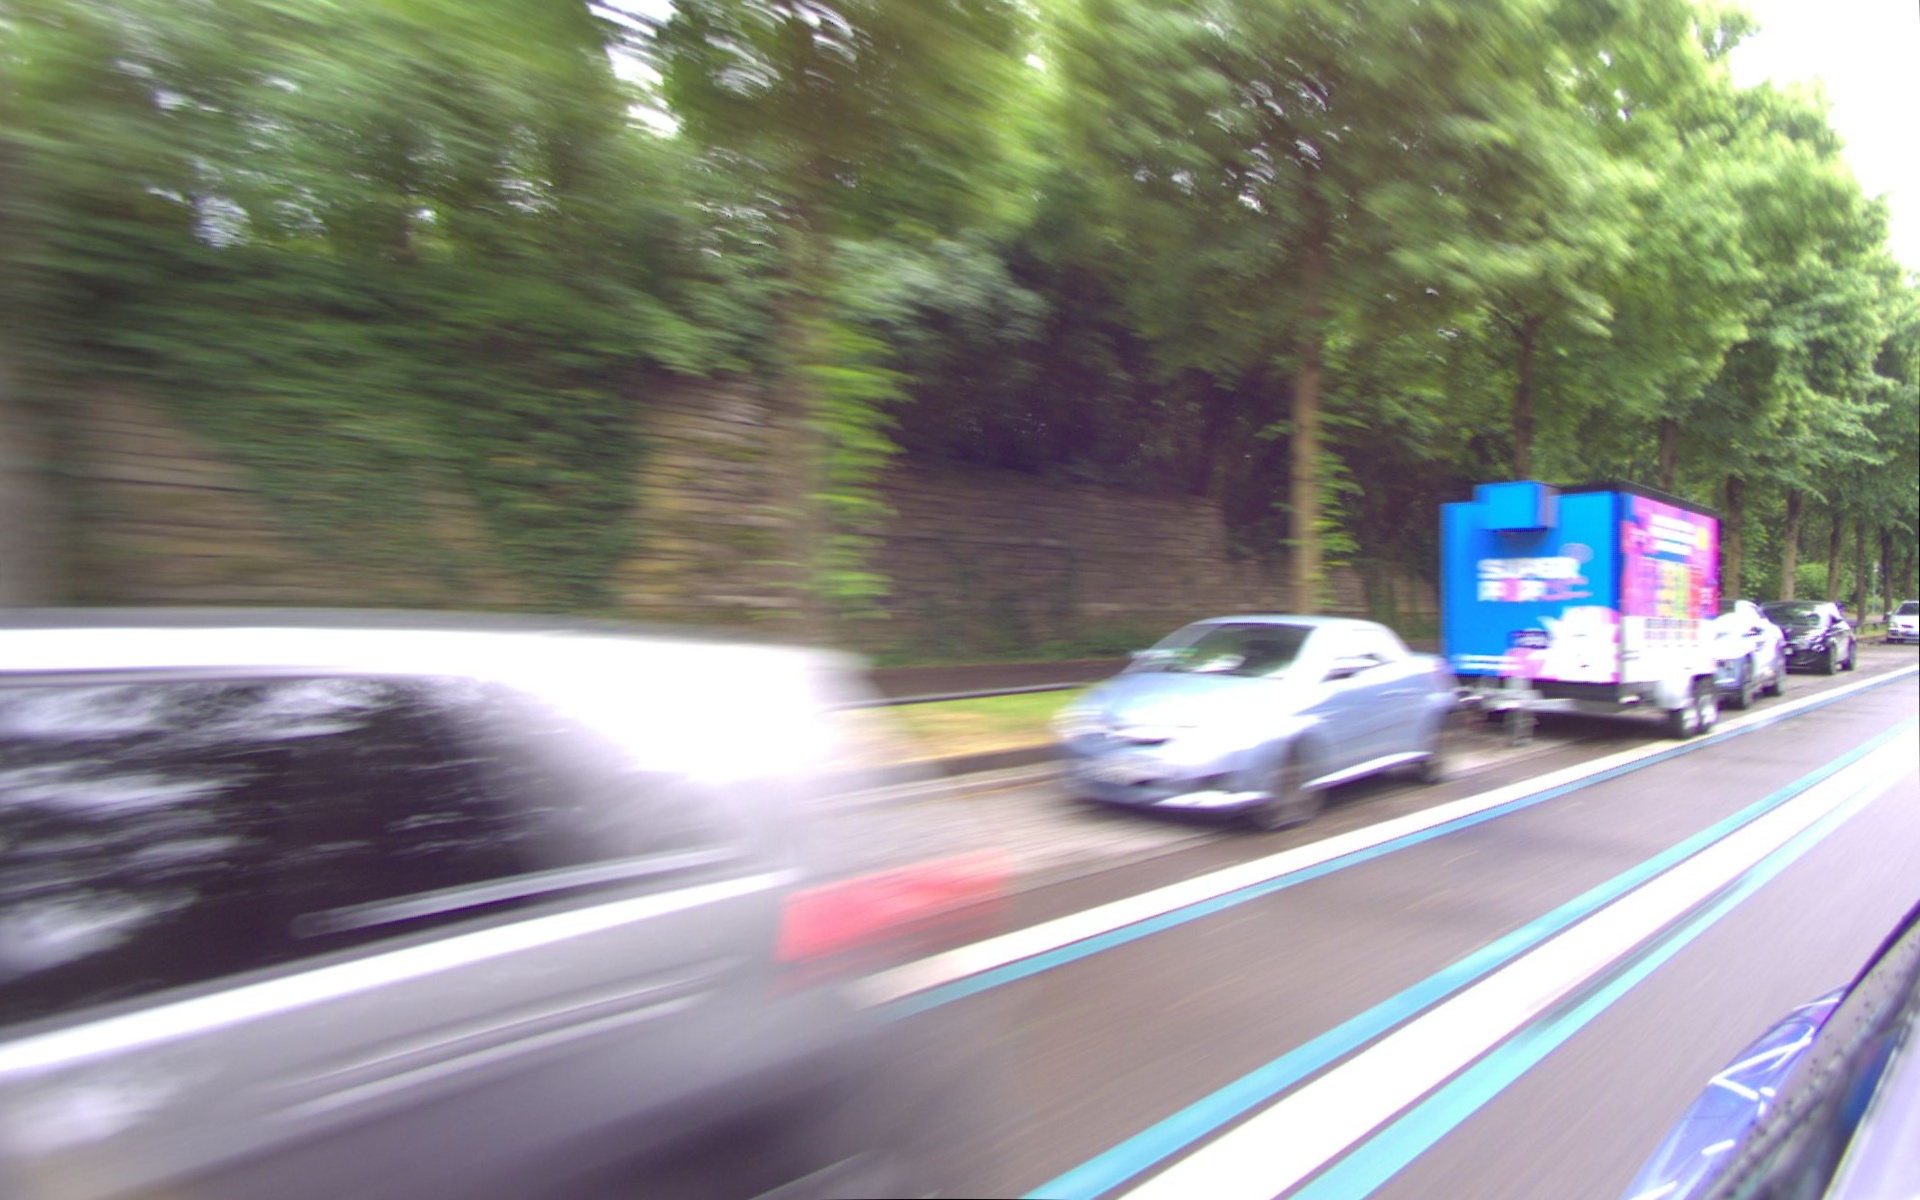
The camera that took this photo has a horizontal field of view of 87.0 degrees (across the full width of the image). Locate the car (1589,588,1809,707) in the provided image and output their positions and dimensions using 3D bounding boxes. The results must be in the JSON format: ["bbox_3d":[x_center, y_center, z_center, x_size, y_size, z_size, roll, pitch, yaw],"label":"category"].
[{"bbox_3d":[11.511,0.611,15.629,4.675,1.567,1.901,0,1,-43],"label":"car"}]

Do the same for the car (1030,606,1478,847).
[{"bbox_3d":[2.406,0.742,7.753,3.797,1.370,1.586,0,0,-43],"label":"car"}]

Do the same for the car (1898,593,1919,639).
[{"bbox_3d":[35.462,0.545,36.629,4.657,1.617,1.756,0,0,-41],"label":"car"}]

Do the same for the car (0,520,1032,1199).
[{"bbox_3d":[-2.005,0.667,1.325,4.065,1.527,1.822,0,1,-40],"label":"car"}]

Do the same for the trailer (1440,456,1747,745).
[{"bbox_3d":[7.475,-0.011,11.816,3.936,2.793,1.956,0,0,-41],"label":"trailer"}]

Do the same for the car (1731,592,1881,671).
[{"bbox_3d":[18.523,0.613,22.086,4.491,1.522,1.829,0,1,-41],"label":"car"}]
